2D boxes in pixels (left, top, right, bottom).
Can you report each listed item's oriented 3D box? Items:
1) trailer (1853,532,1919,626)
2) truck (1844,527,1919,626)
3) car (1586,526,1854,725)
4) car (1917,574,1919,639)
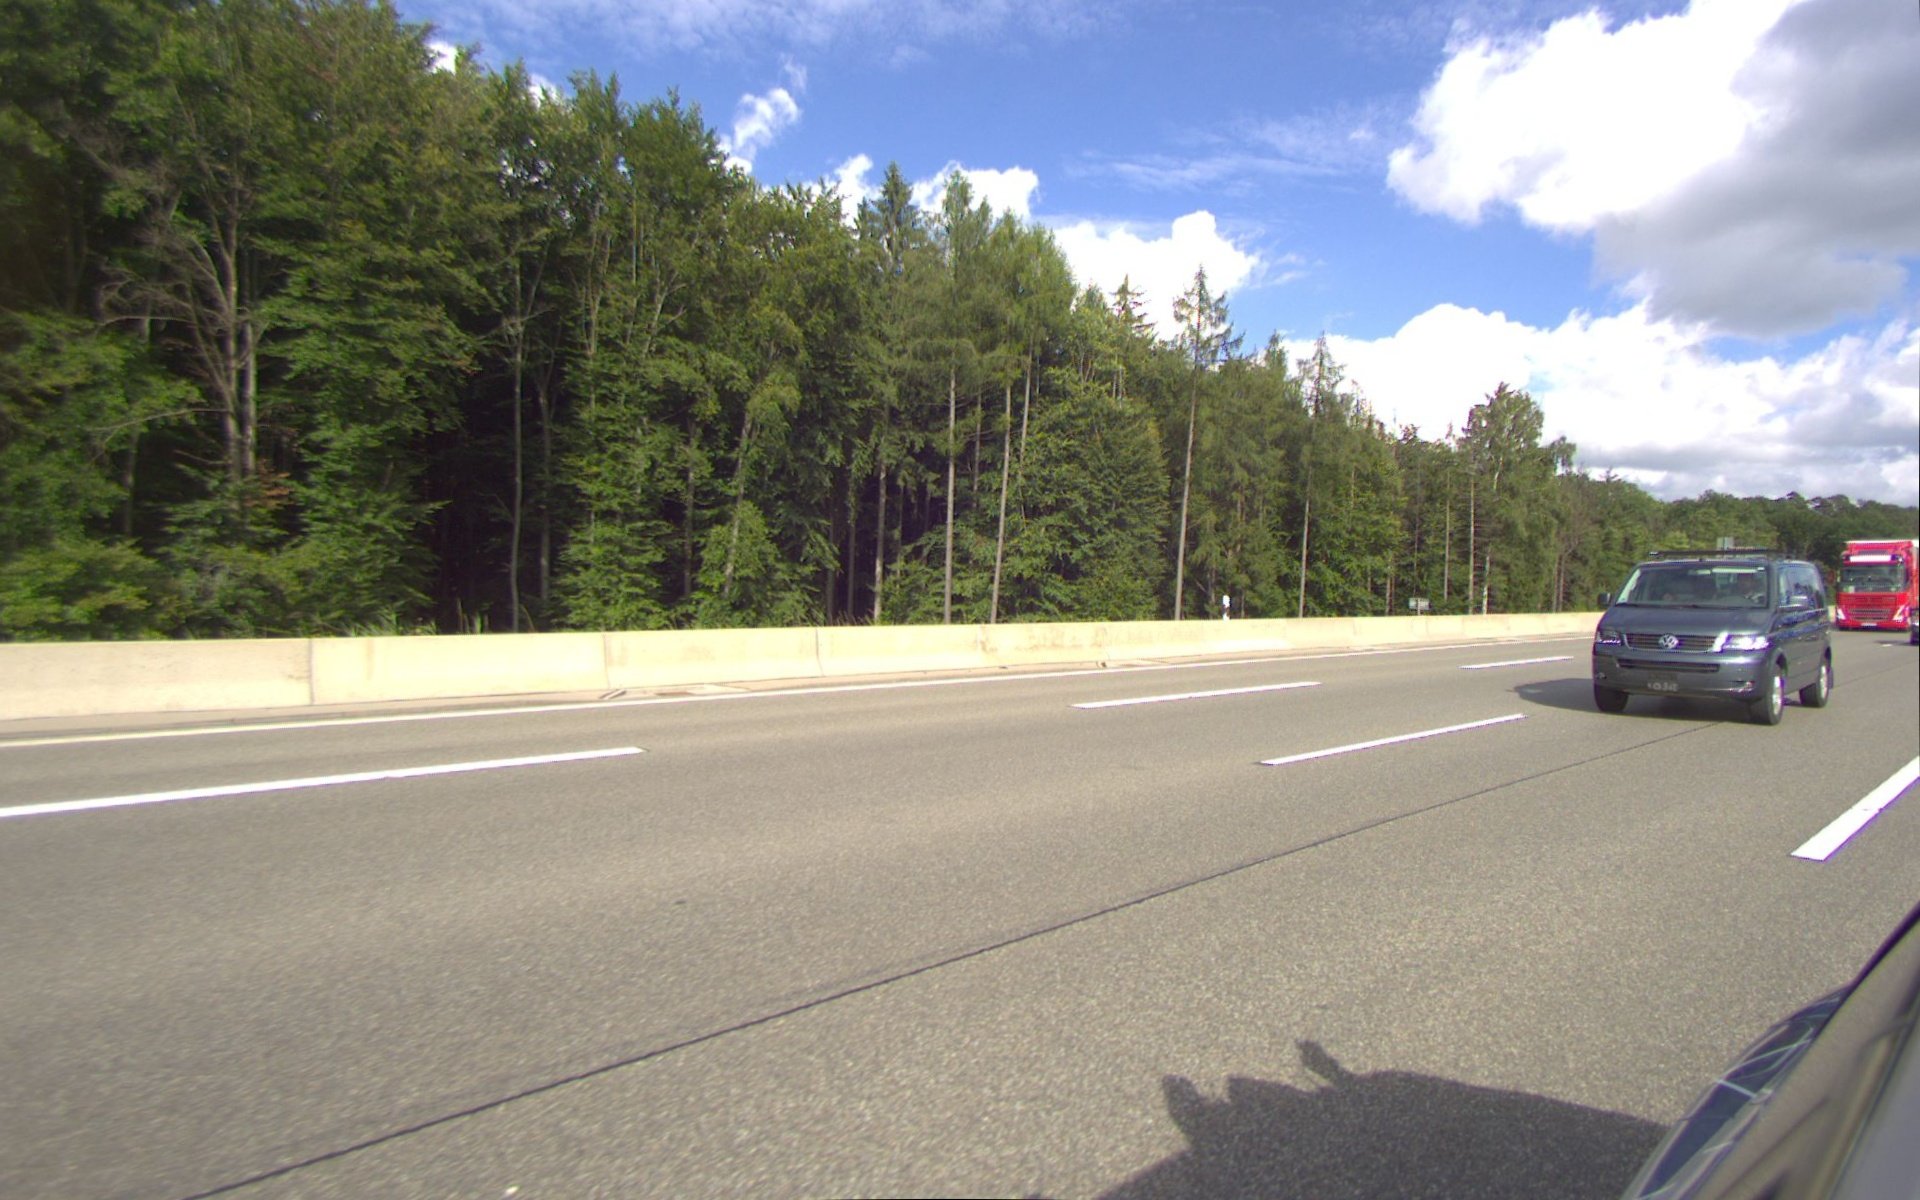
[{"bbox_3d":[47.518,-1.048,50.326,14.122,4.171,2.530,-1,1,-40],"label":"trailer"},{"bbox_3d":[42.015,-1.069,45.678,4.572,4.255,2.531,-1,1,-41],"label":"truck"},{"bbox_3d":[10.278,0.251,13.525,4.875,2.193,1.925,0,1,-42],"label":"car"},{"bbox_3d":[32.173,0.194,32.217,3.928,2.039,1.998,0,1,-39],"label":"car"}]
